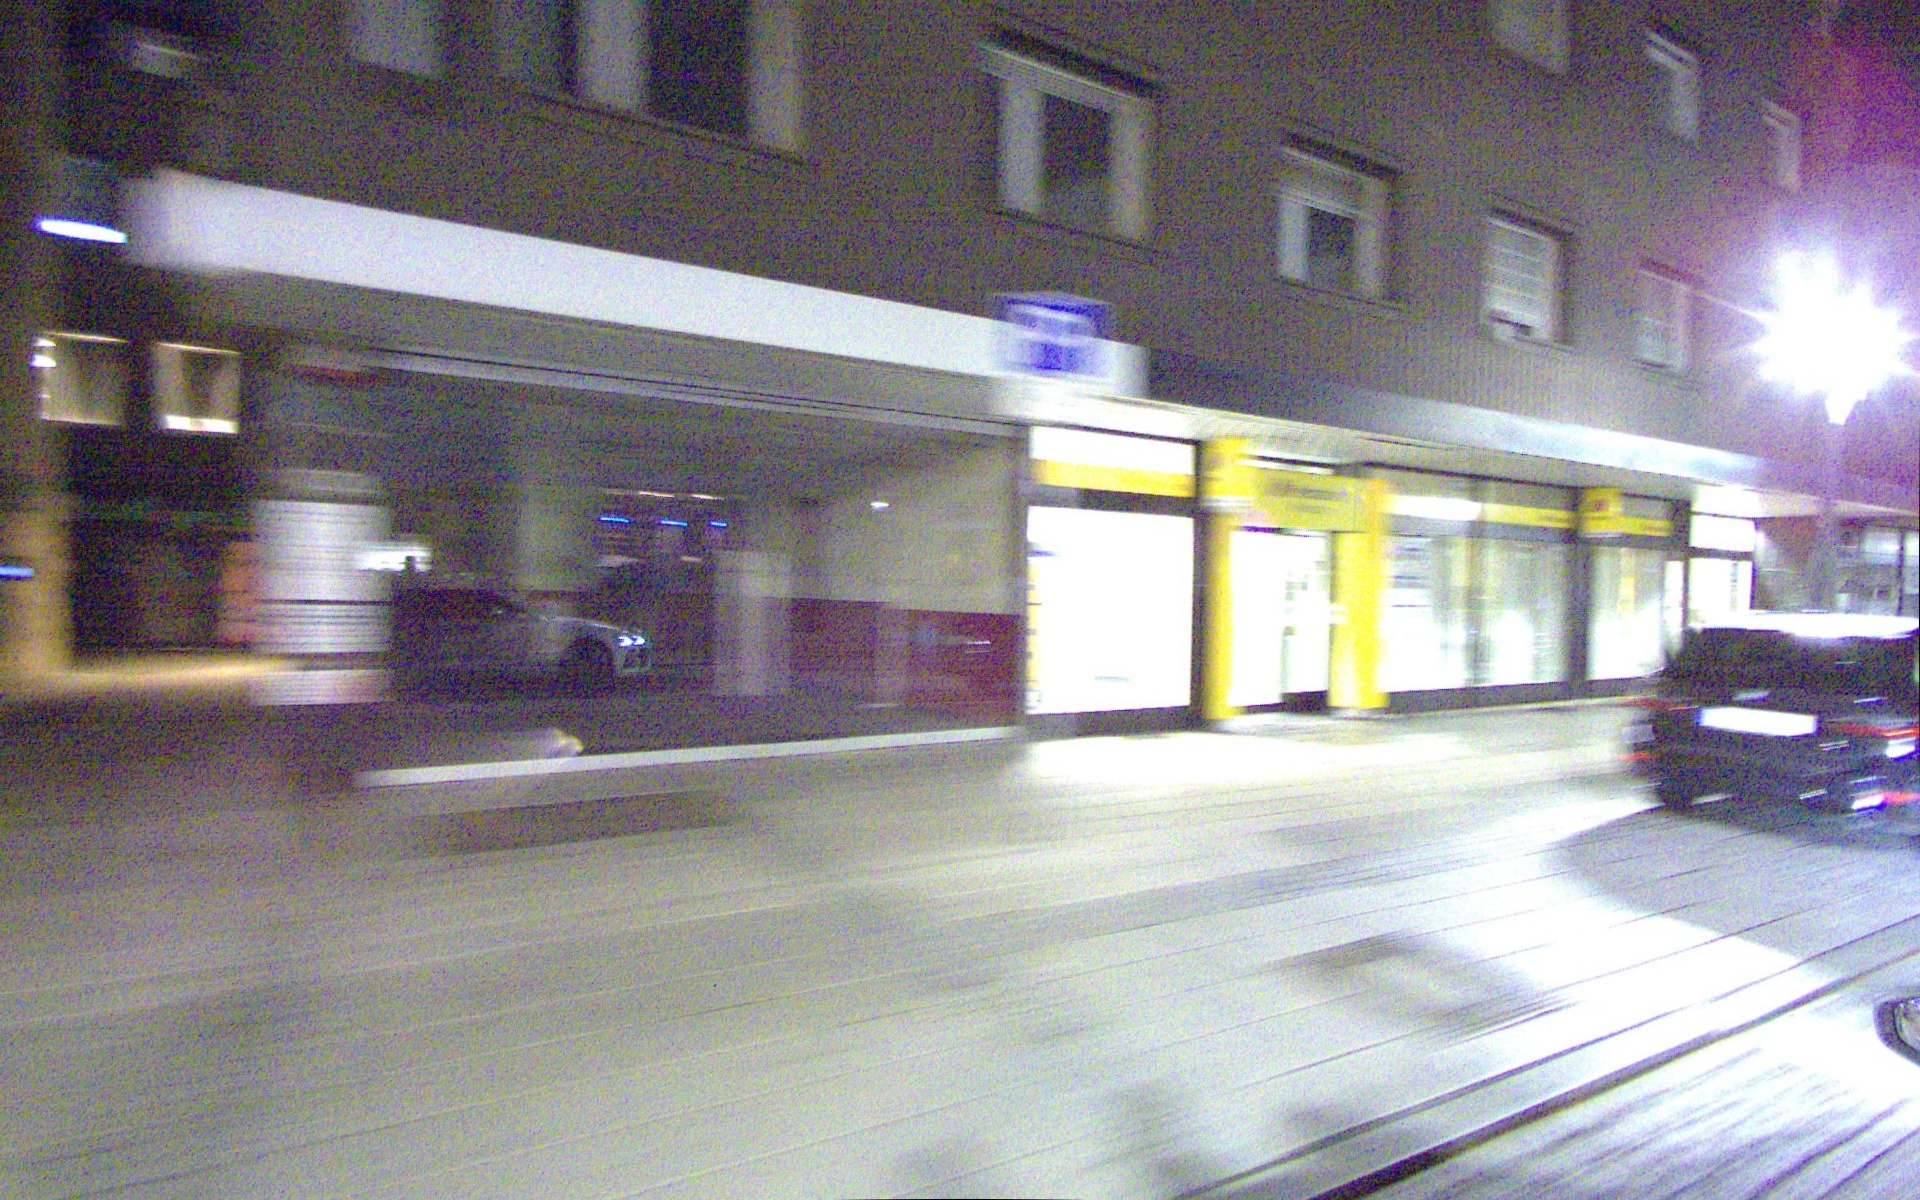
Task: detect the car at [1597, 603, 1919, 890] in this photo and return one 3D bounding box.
[{"bbox_3d":[6.659,0.838,7.239,4.273,1.498,1.787,1,2,-32],"label":"car"}]
